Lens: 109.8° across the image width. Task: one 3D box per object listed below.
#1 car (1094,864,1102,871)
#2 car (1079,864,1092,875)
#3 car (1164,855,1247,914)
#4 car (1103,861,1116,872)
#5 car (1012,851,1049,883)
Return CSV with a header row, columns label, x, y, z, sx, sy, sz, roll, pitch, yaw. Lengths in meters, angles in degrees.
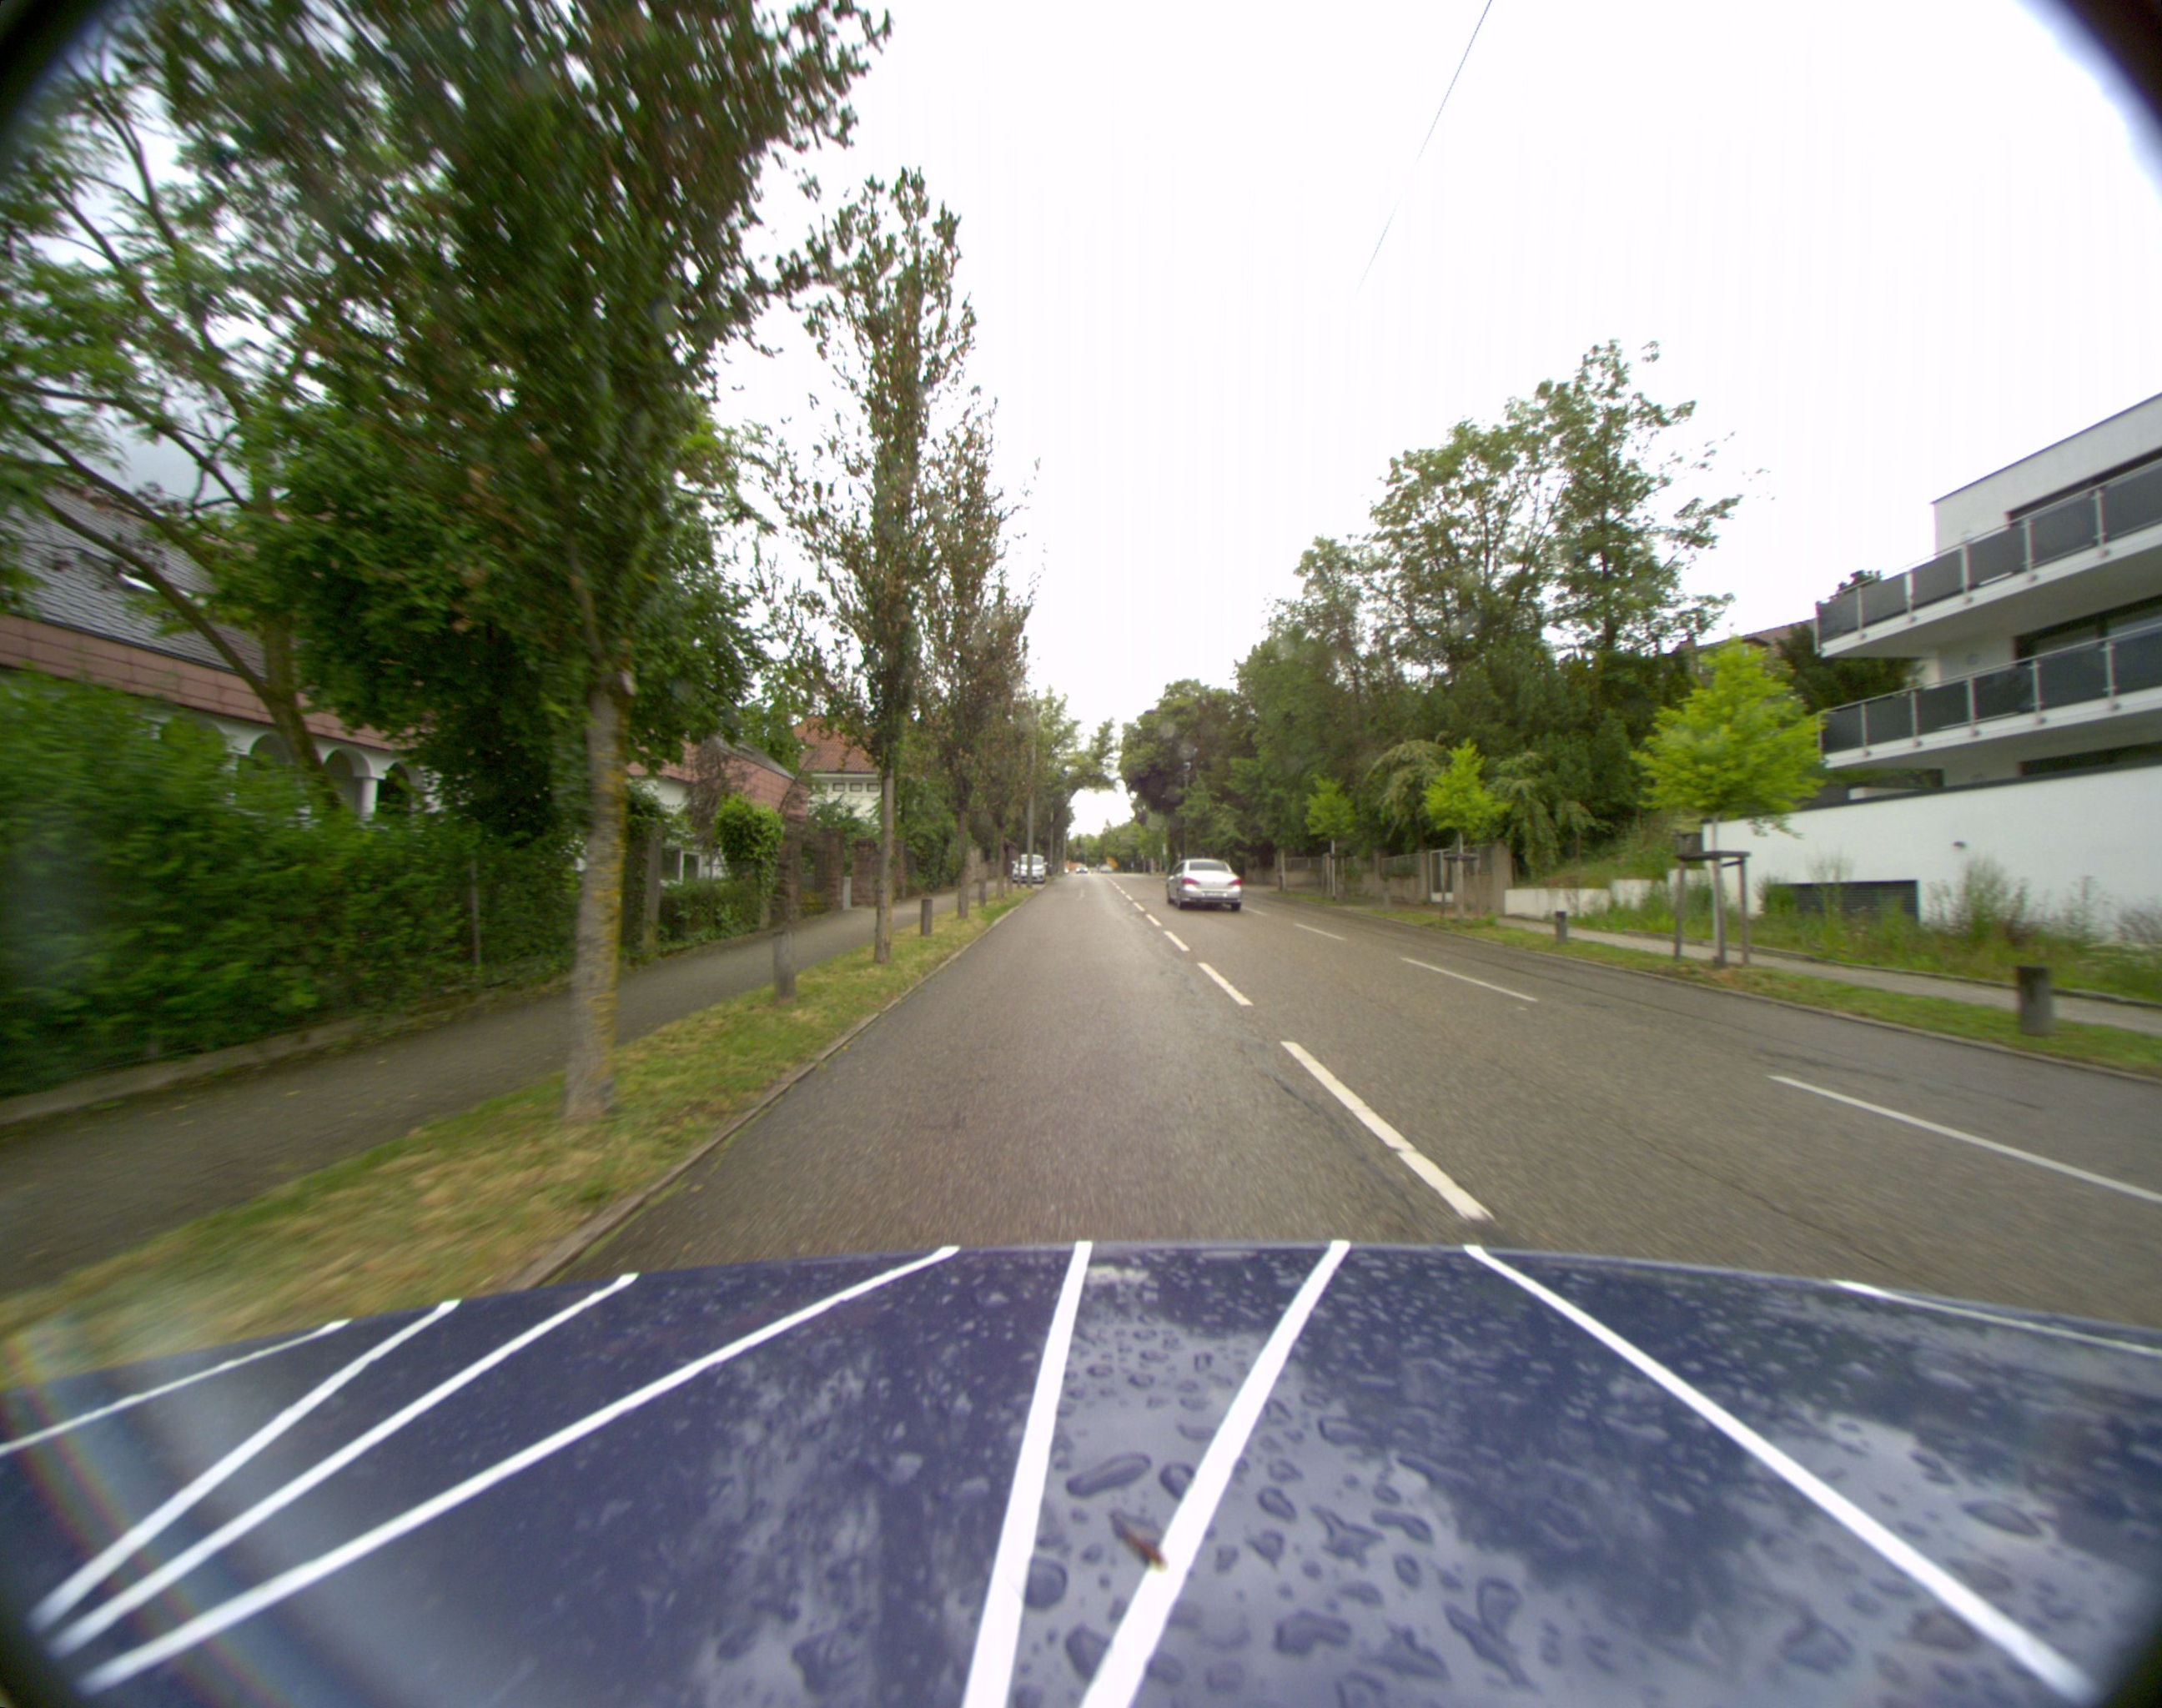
label,x,y,z,sx,sy,sz,roll,pitch,yaw
car,4.122,3.266,183.386,1.876,1.539,4.001,2,-1,1
car,0.807,2.614,129.570,1.998,1.674,4.001,-3,-1,3
car,3.525,0.807,22.213,1.766,1.477,3.999,1,1,0
car,4.520,1.952,120.694,1.798,1.501,4.093,-1,1,0
car,-2.729,0.696,41.997,1.829,1.620,3.999,2,0,-1
